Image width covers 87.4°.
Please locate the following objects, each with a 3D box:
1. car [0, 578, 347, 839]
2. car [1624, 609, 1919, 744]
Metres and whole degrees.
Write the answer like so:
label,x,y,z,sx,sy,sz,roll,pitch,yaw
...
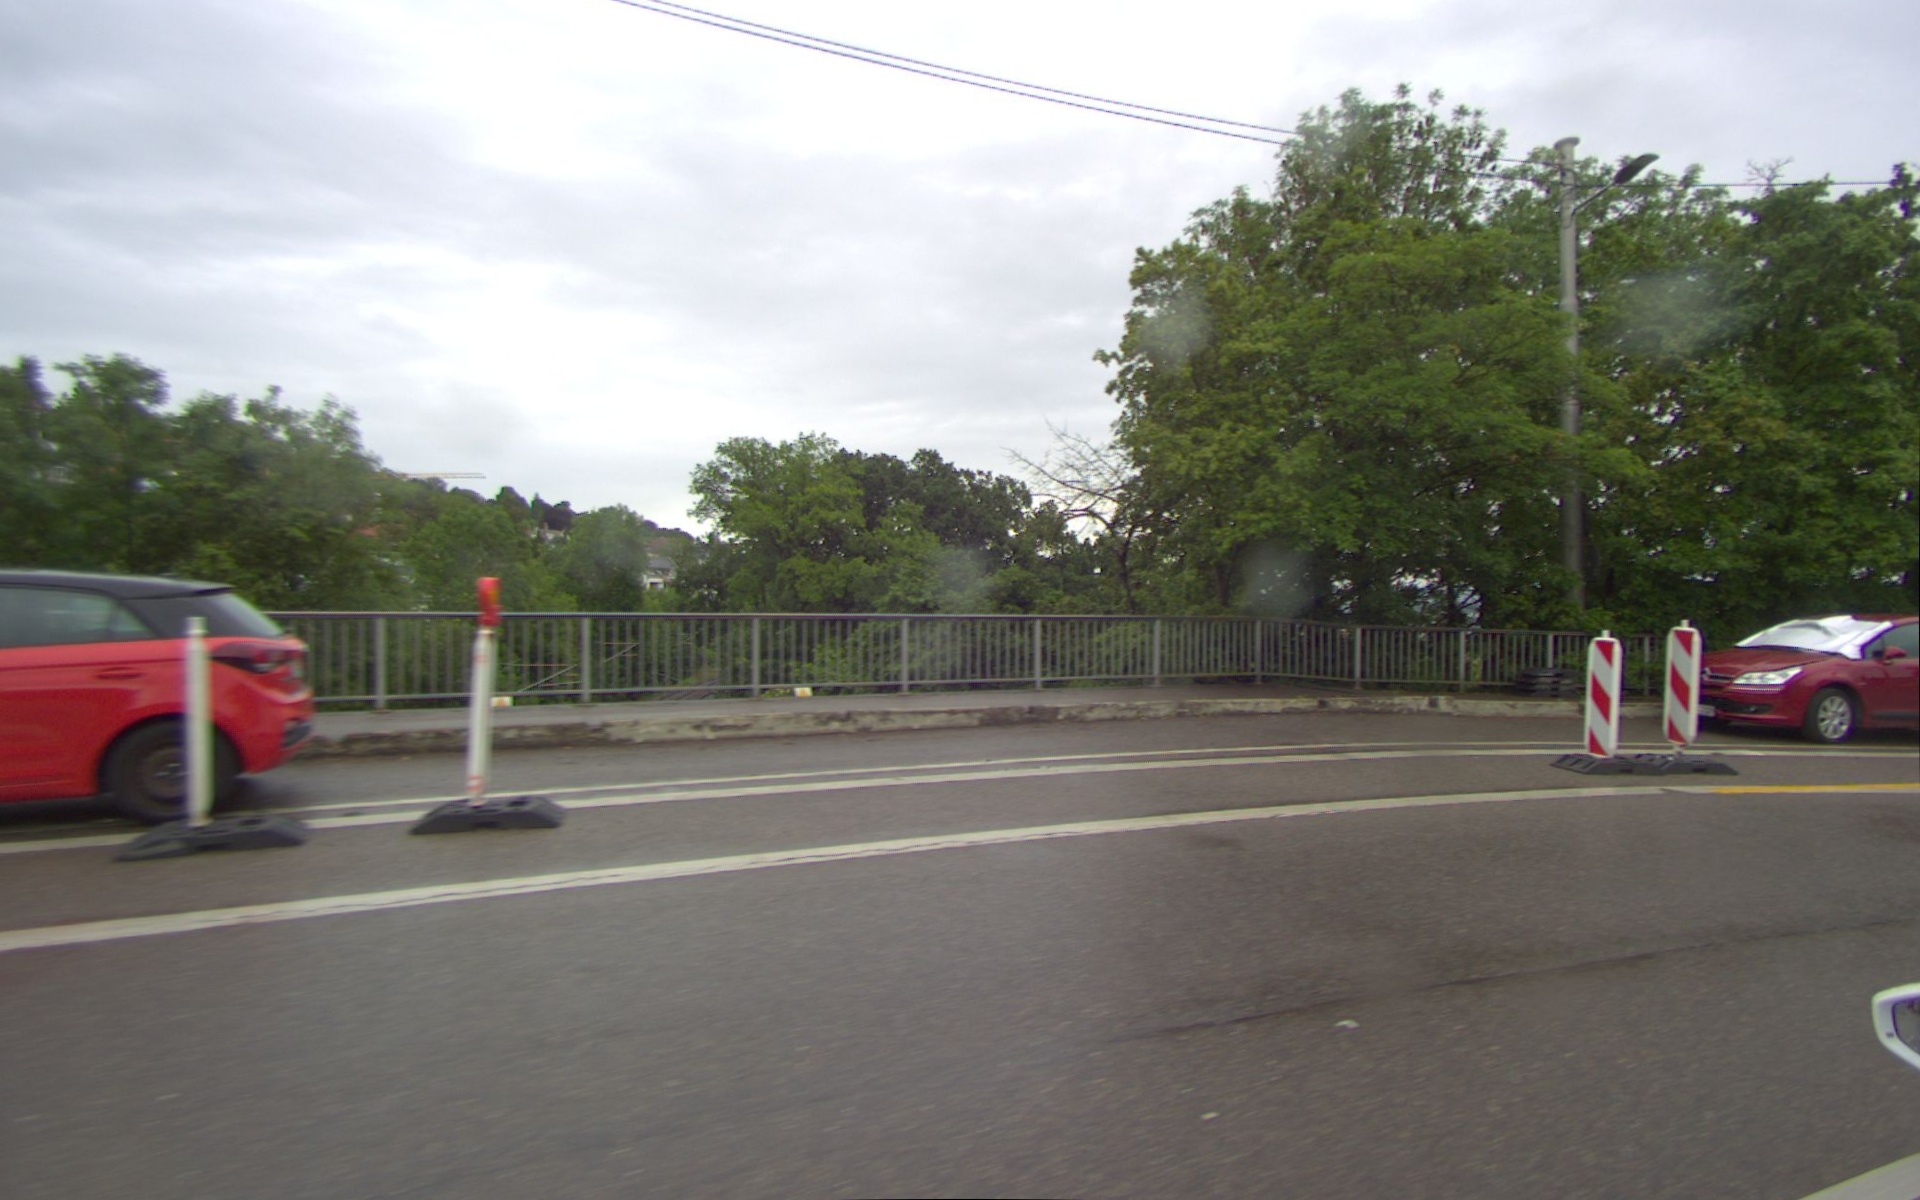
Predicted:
label,x,y,z,sx,sy,sz,roll,pitch,yaw
car,-6.074,0.576,5.926,4.087,1.416,1.678,2,-1,-30
car,10.913,0.893,12.393,4.241,1.459,1.965,1,1,-5
